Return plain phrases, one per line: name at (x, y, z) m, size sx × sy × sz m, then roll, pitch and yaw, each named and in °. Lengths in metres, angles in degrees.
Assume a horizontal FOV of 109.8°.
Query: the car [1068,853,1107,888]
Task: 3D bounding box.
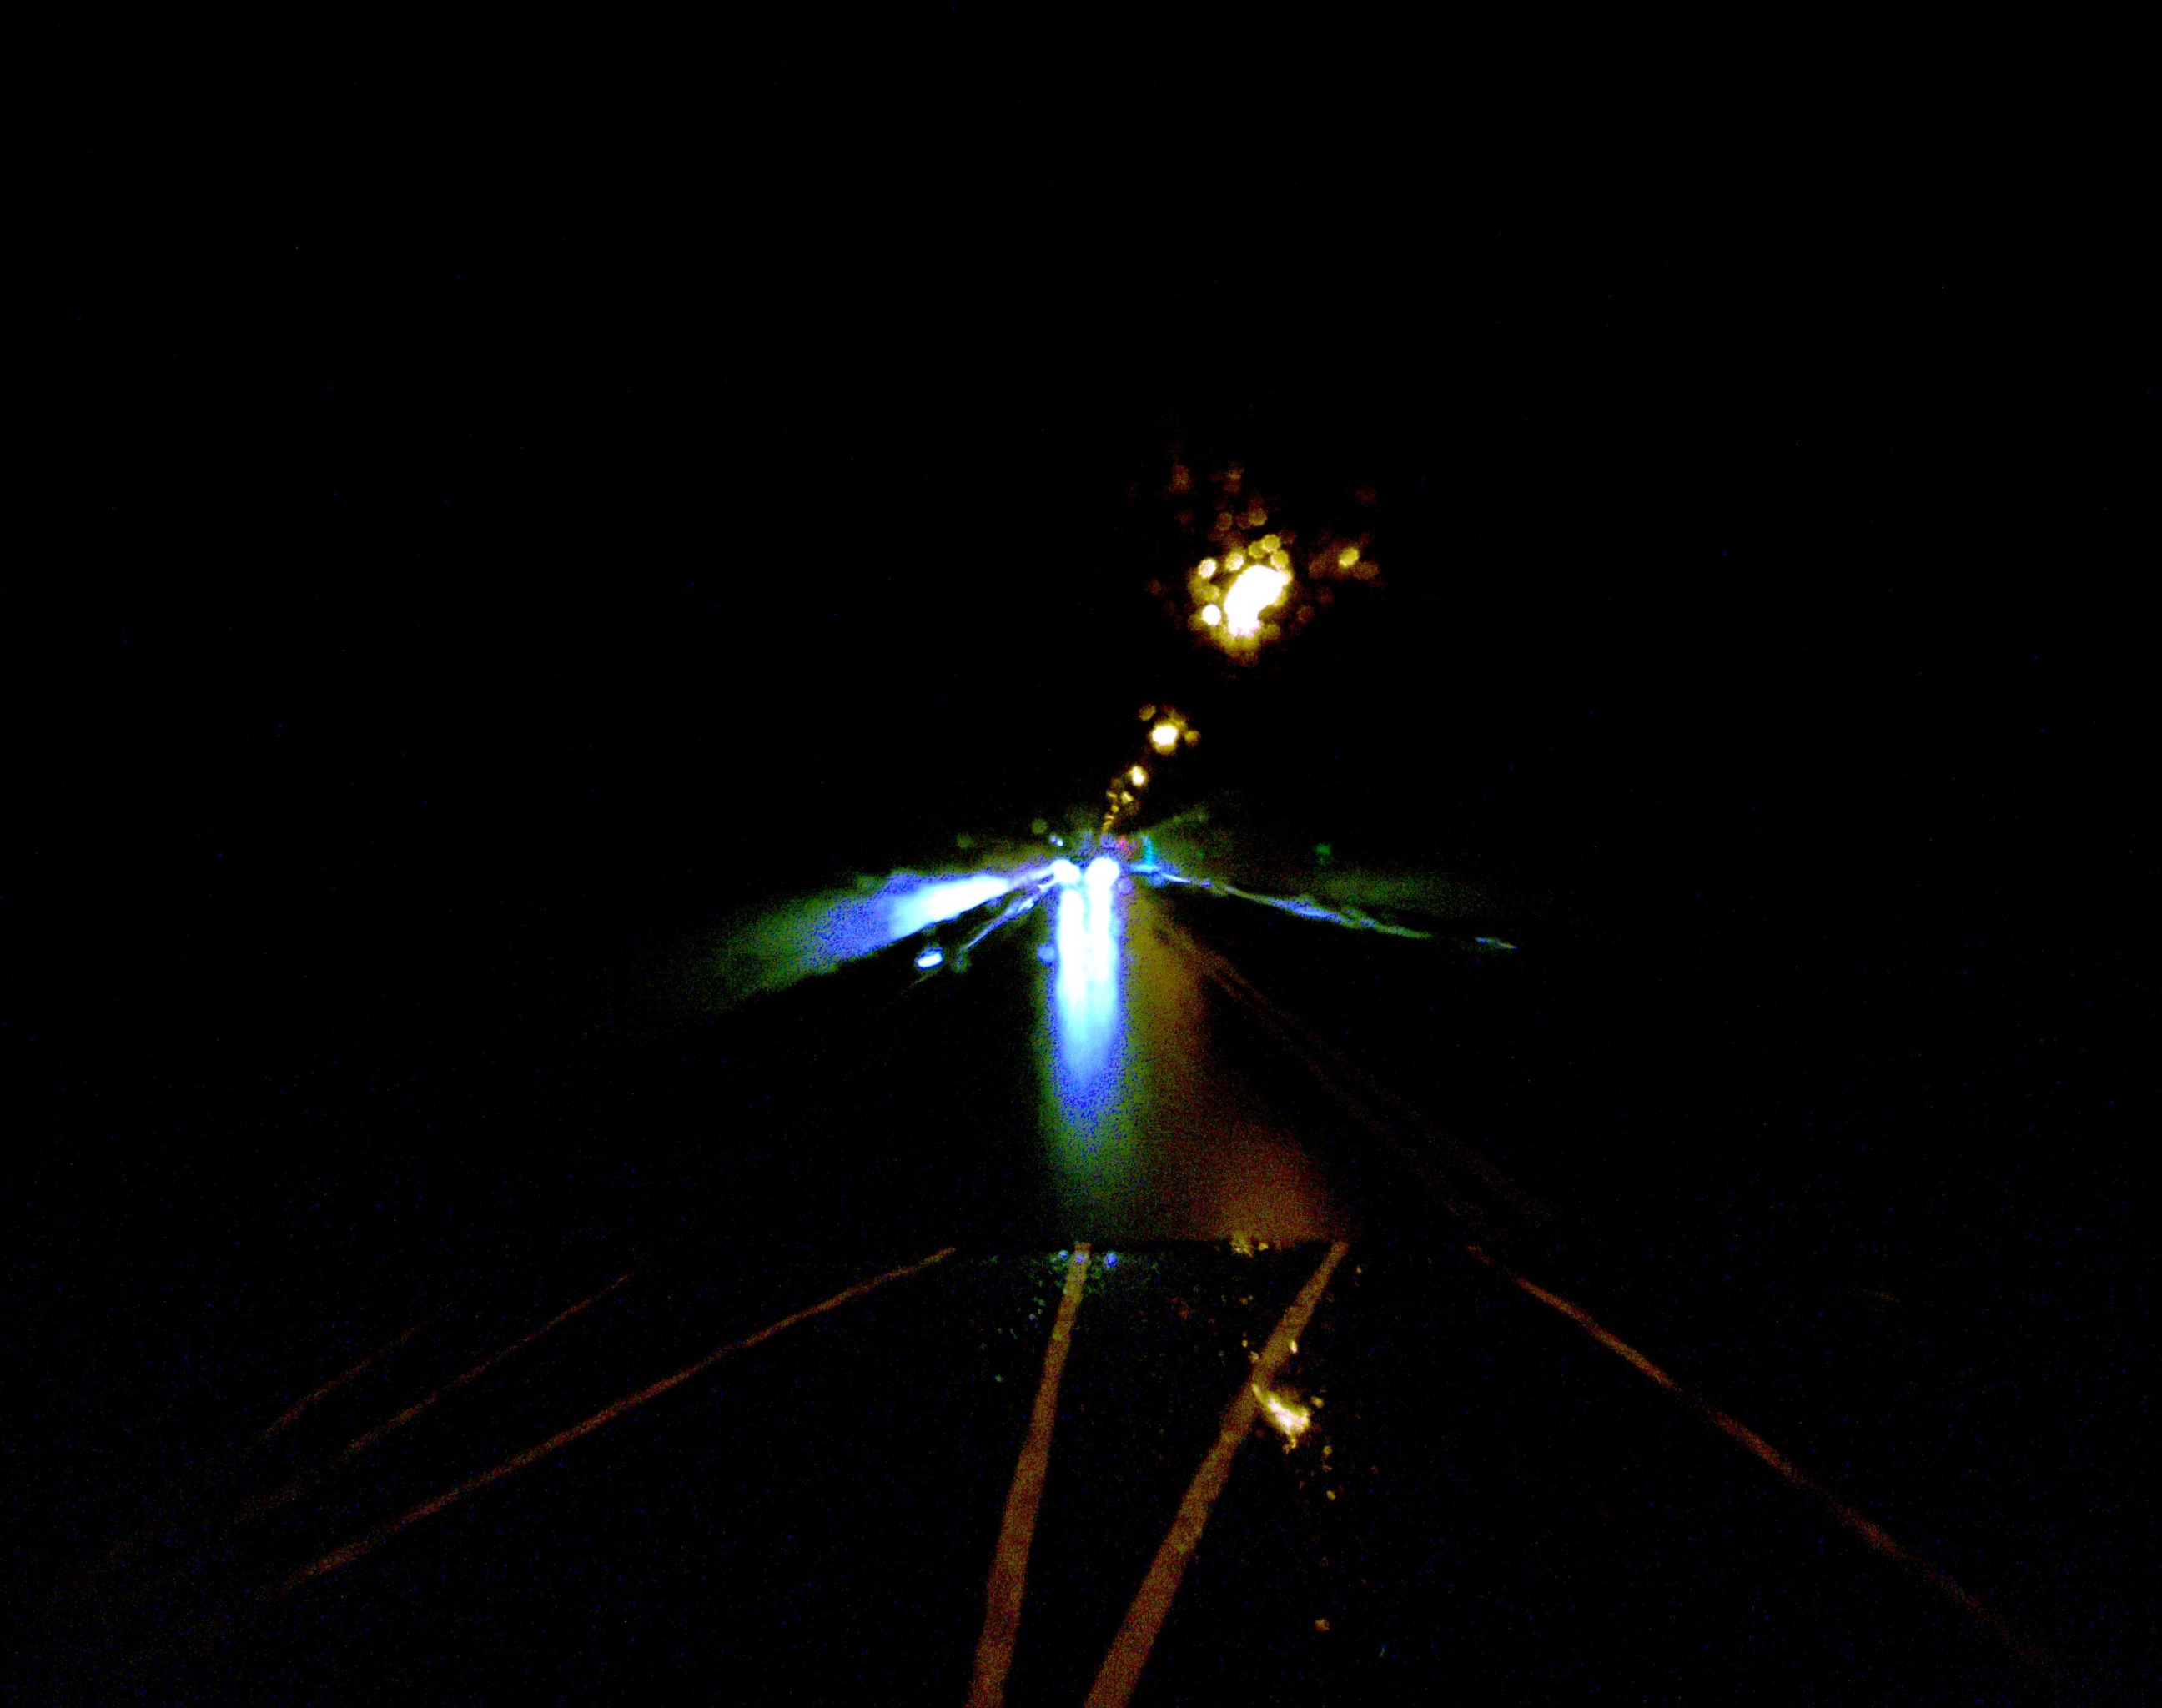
car at (0.322, 0.777, 37.688) m, size 1.829 × 1.650 × 3.929 m, roll 0°, pitch 0°, yaw 1°
